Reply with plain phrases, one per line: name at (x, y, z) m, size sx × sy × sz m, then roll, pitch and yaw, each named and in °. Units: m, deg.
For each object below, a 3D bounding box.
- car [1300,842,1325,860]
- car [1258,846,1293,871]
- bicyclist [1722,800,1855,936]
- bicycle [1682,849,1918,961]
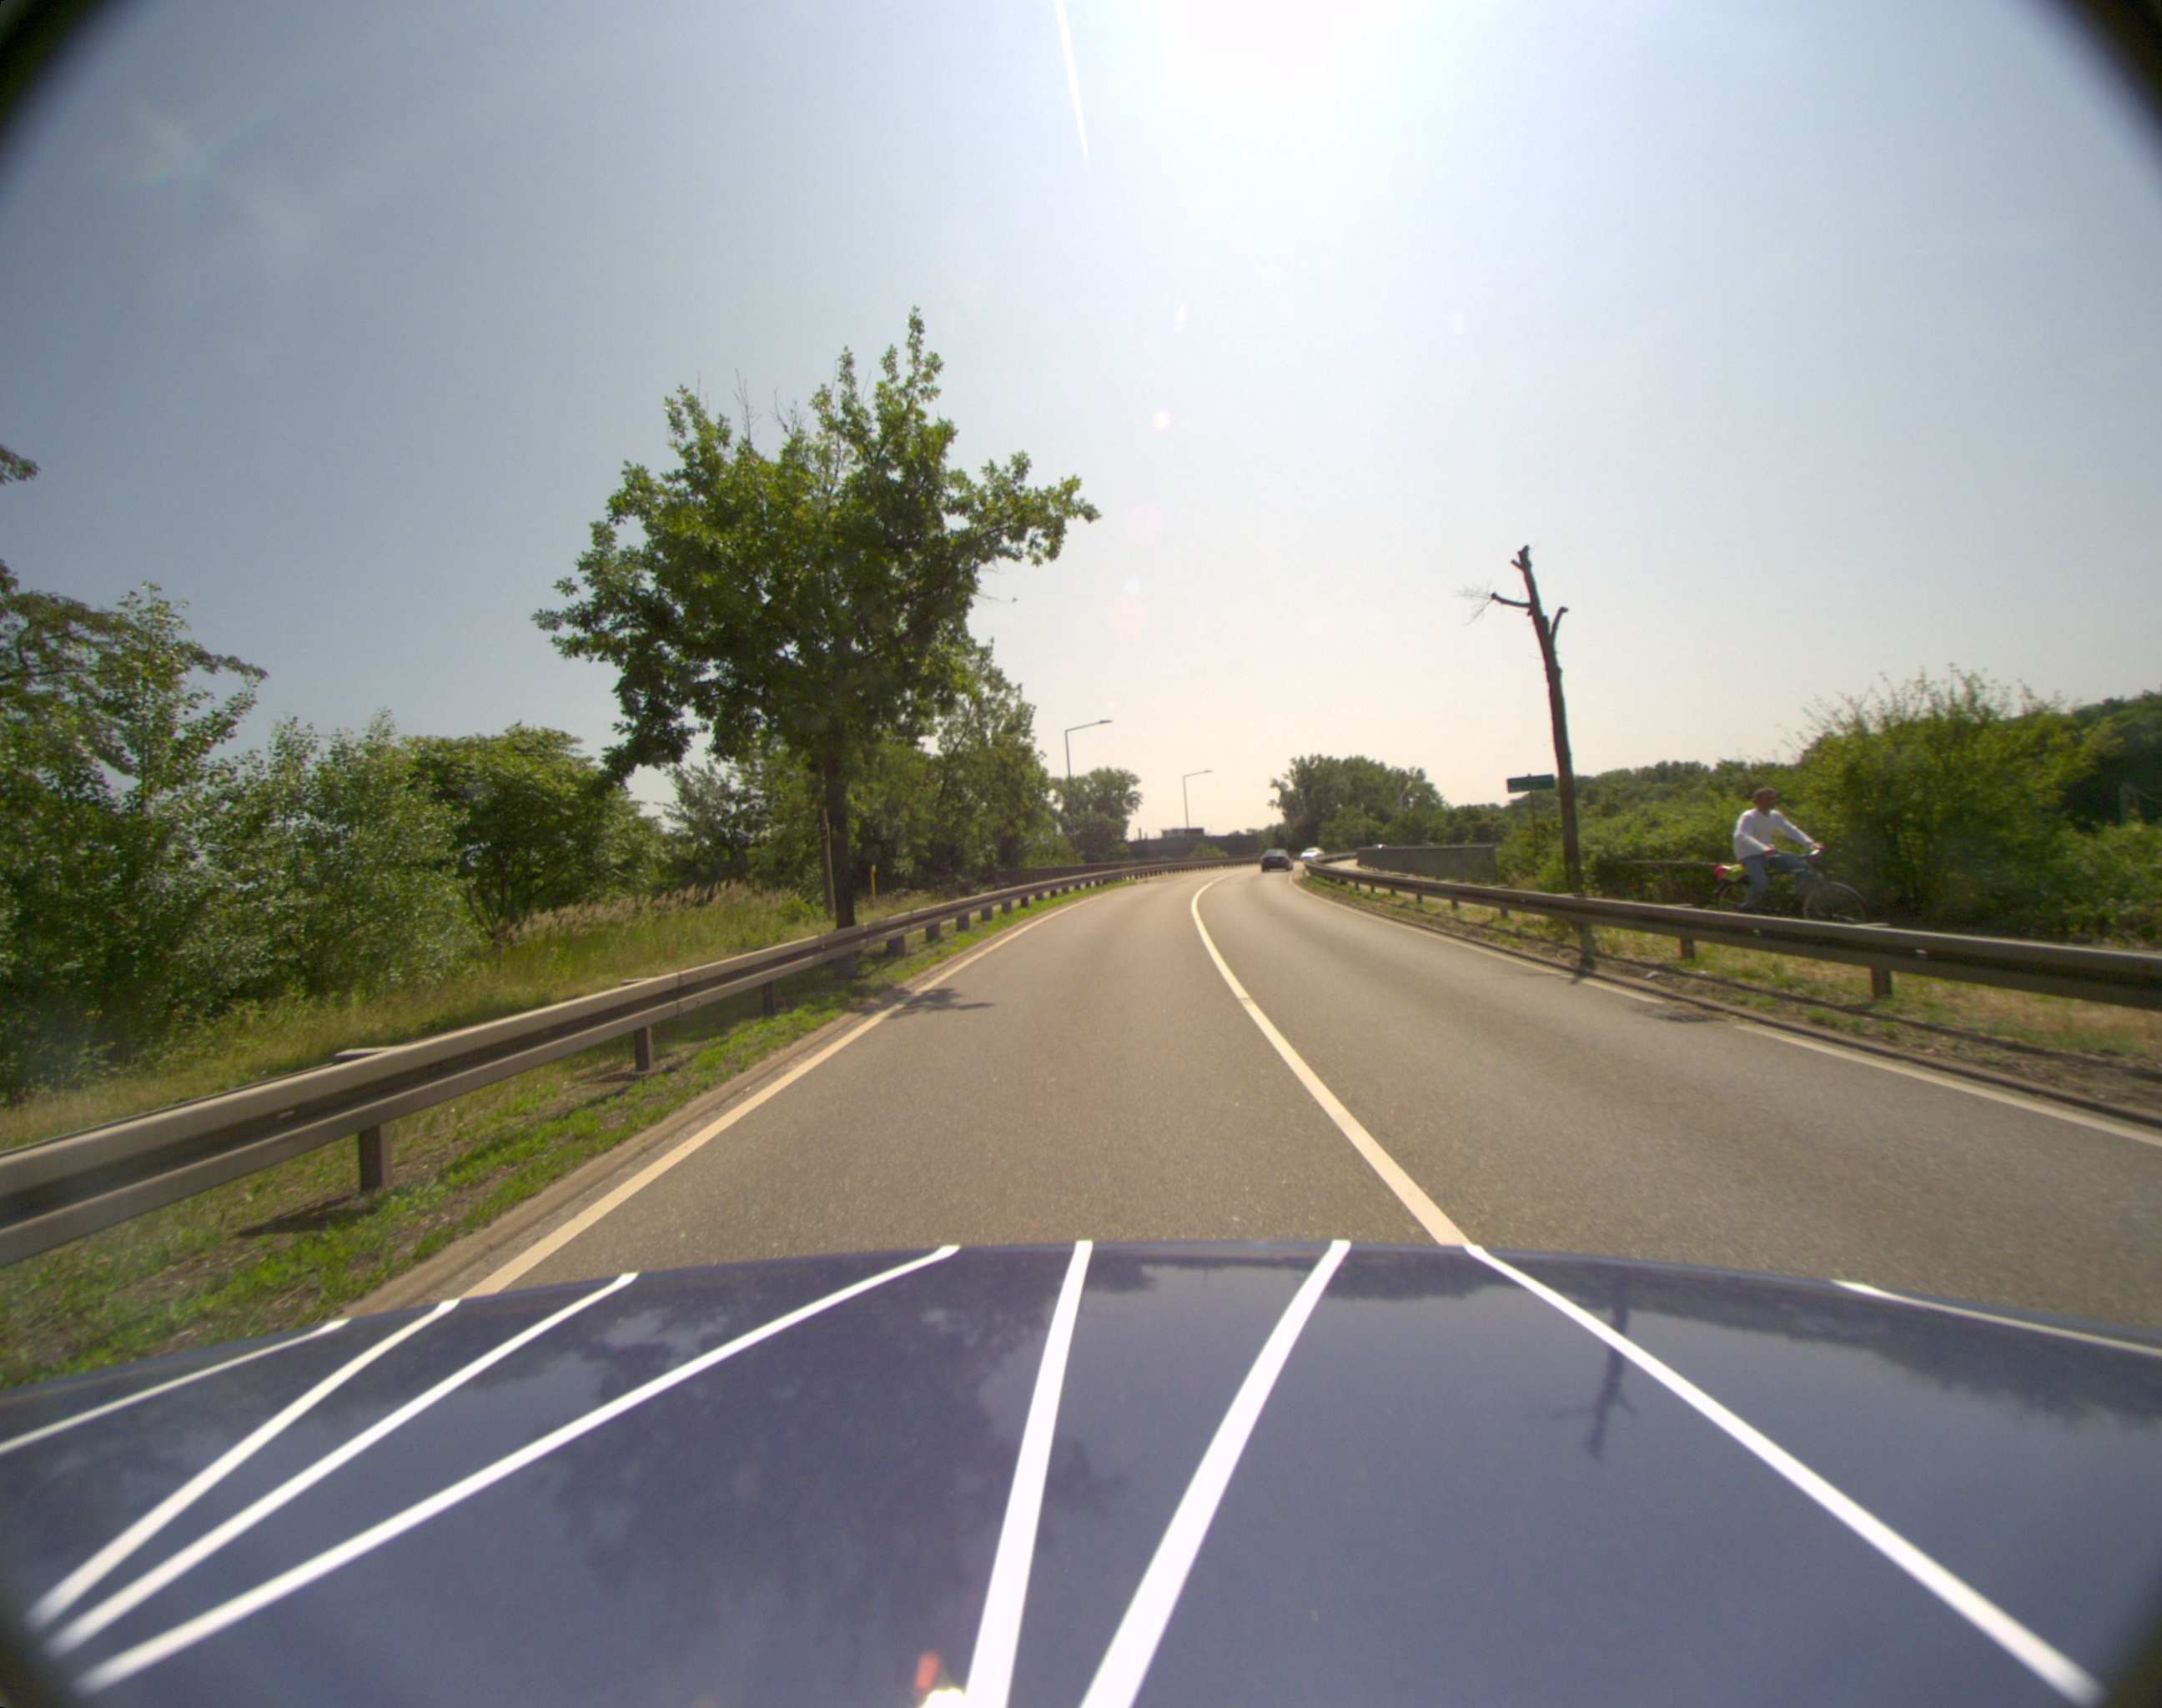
car at (25.714, -0.341, 84.338) m, size 1.795 × 1.772 × 4.300 m, roll -2°, pitch 1°, yaw 28°
car at (12.683, 0.262, 49.374) m, size 1.806 × 1.408 × 4.363 m, roll -2°, pitch 0°, yaw 19°
bicyclist at (7.941, 0.151, 8.568) m, size 0.731 × 1.457 × 0.824 m, roll -1°, pitch 1°, yaw 0°
bicycle at (7.943, 0.499, 8.563) m, size 0.736 × 1.110 × 2.046 m, roll -1°, pitch 0°, yaw 0°
